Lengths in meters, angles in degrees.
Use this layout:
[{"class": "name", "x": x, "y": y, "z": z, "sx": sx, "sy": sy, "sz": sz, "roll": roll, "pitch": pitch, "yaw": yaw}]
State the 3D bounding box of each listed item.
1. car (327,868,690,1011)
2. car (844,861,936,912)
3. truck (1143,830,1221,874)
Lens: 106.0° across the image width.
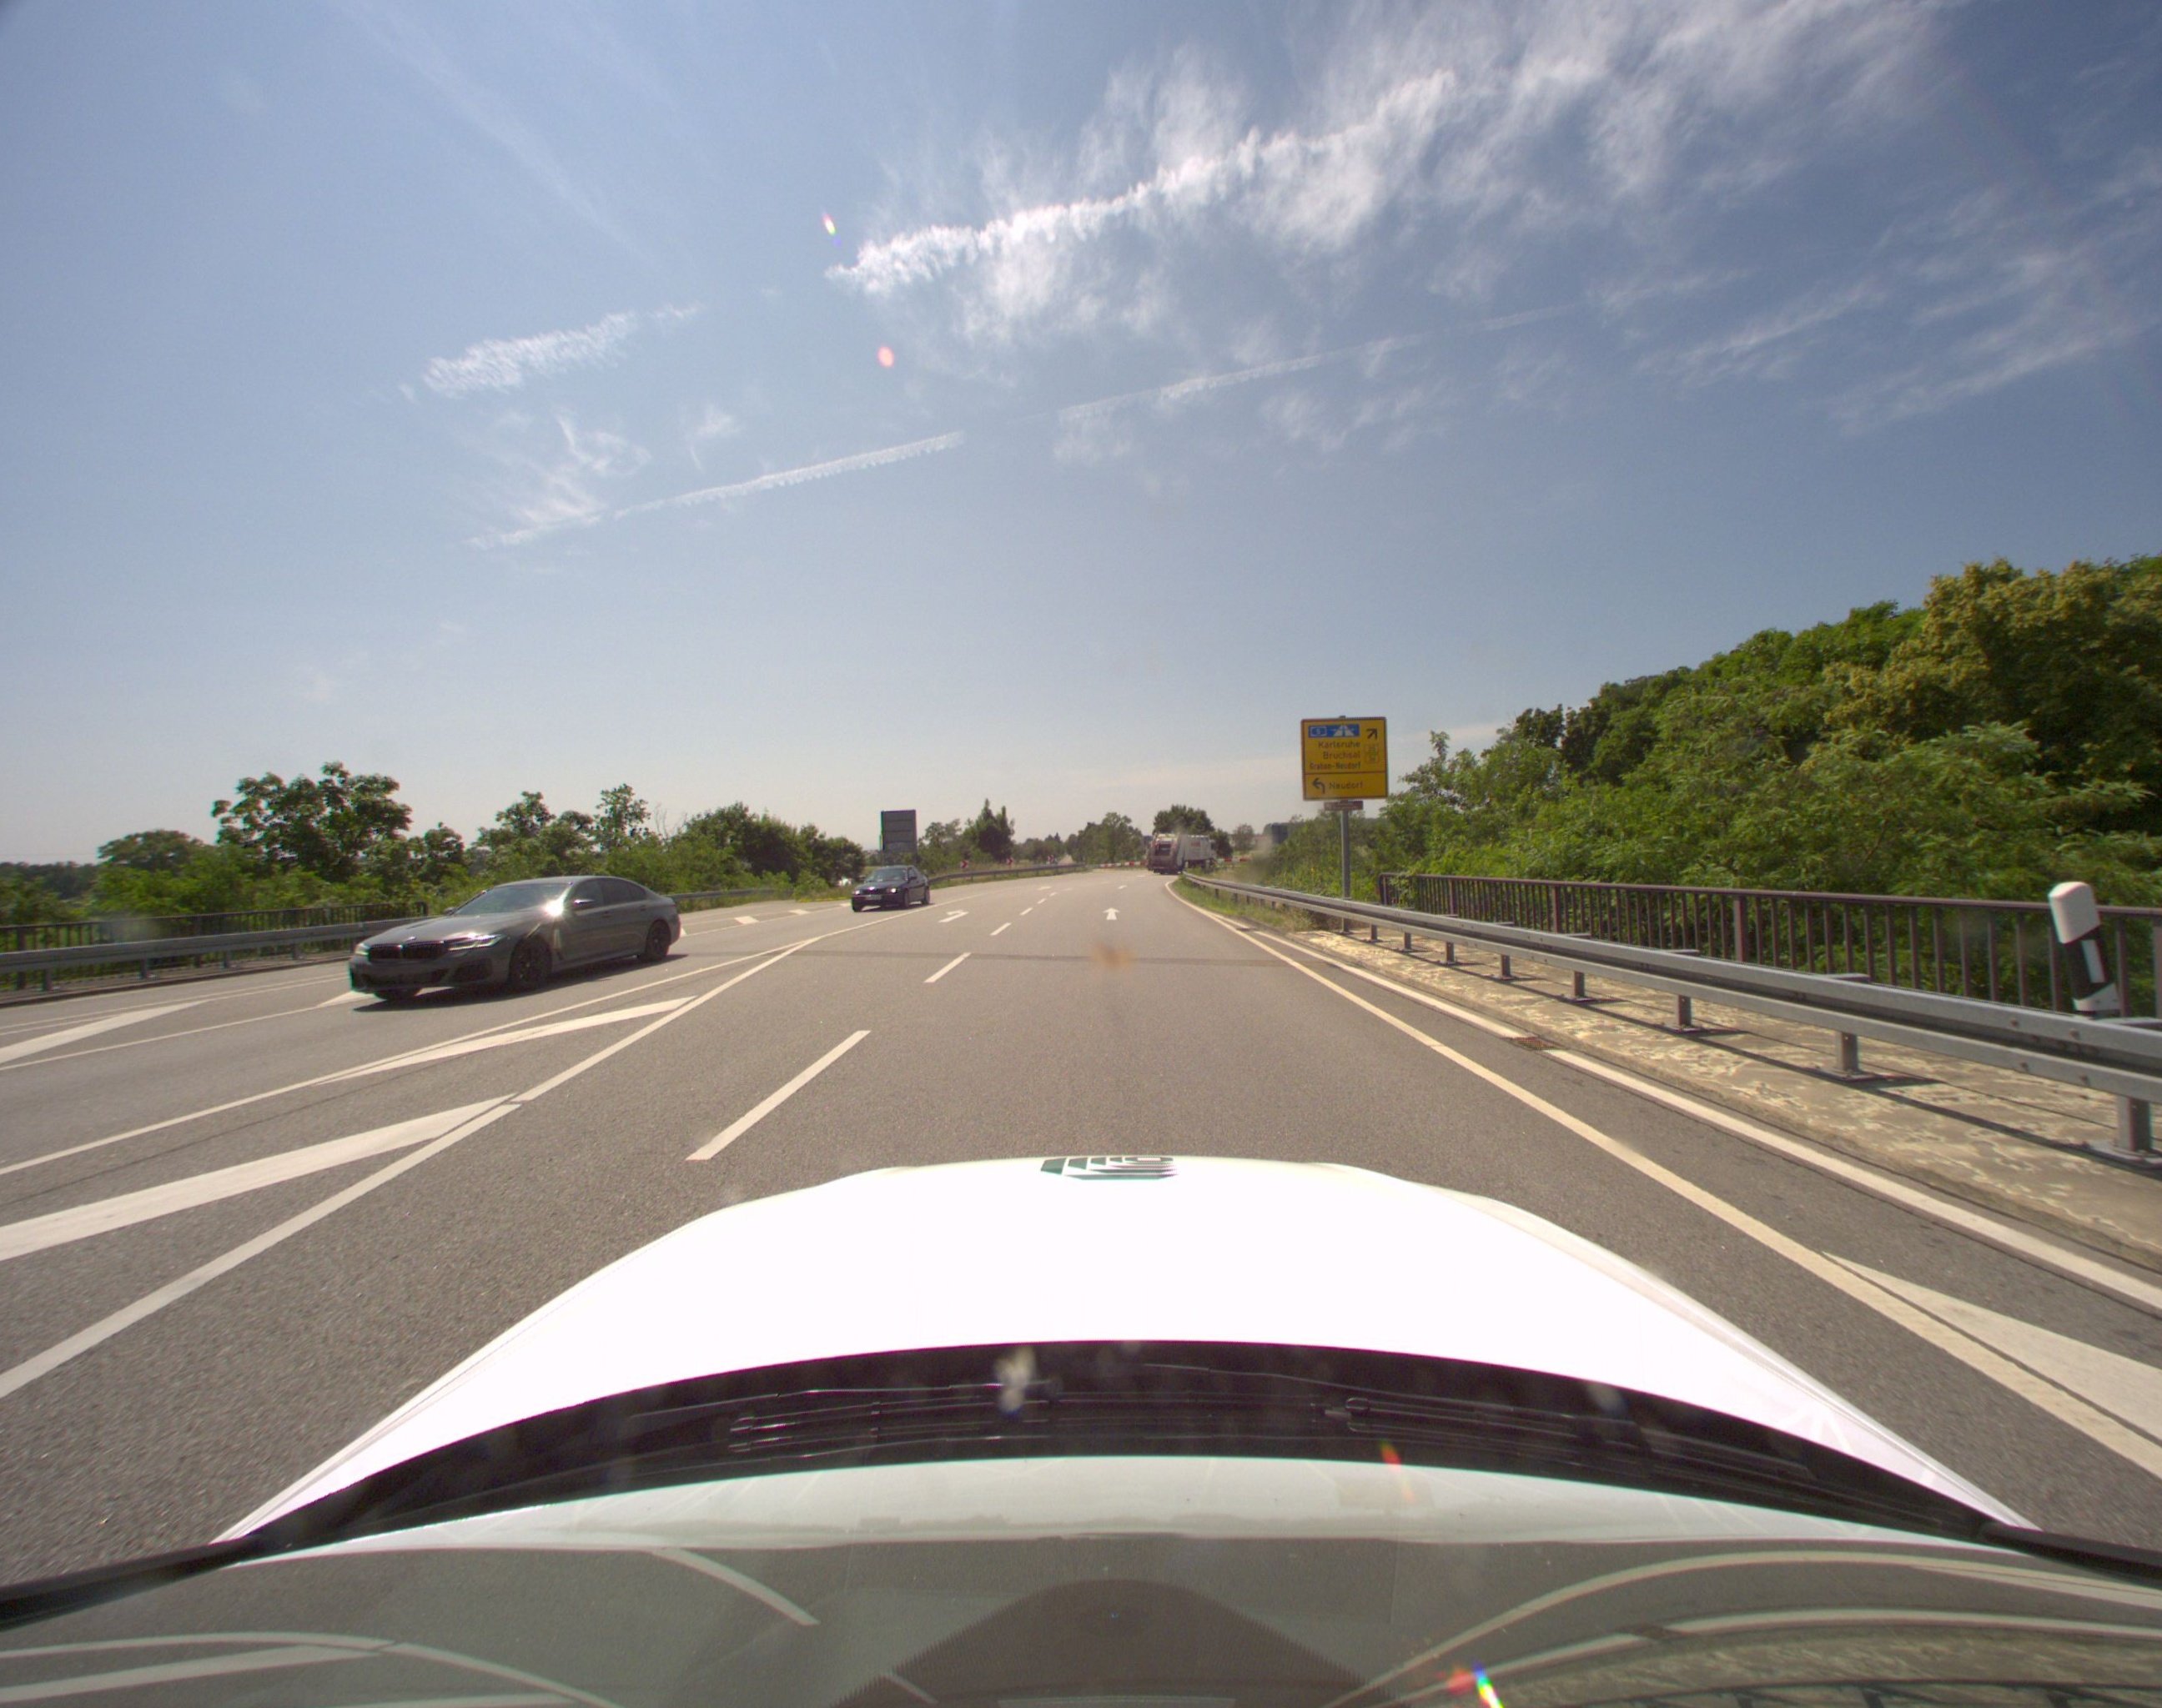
[{"class": "car", "x": -7.781, "y": 1.028, "z": 11.826, "sx": 1.717, "sy": 1.453, "sz": 4.796, "roll": -3, "pitch": 0, "yaw": 1}, {"class": "car", "x": -6.337, "y": 1.034, "z": 27.548, "sx": 1.727, "sy": 1.401, "sz": 4.386, "roll": -3, "pitch": 0, "yaw": 4}, {"class": "truck", "x": 9.272, "y": -0.158, "z": 73.561, "sx": 2.785, "sy": 3.669, "sz": 10.011, "roll": -1, "pitch": -1, "yaw": 34}]
